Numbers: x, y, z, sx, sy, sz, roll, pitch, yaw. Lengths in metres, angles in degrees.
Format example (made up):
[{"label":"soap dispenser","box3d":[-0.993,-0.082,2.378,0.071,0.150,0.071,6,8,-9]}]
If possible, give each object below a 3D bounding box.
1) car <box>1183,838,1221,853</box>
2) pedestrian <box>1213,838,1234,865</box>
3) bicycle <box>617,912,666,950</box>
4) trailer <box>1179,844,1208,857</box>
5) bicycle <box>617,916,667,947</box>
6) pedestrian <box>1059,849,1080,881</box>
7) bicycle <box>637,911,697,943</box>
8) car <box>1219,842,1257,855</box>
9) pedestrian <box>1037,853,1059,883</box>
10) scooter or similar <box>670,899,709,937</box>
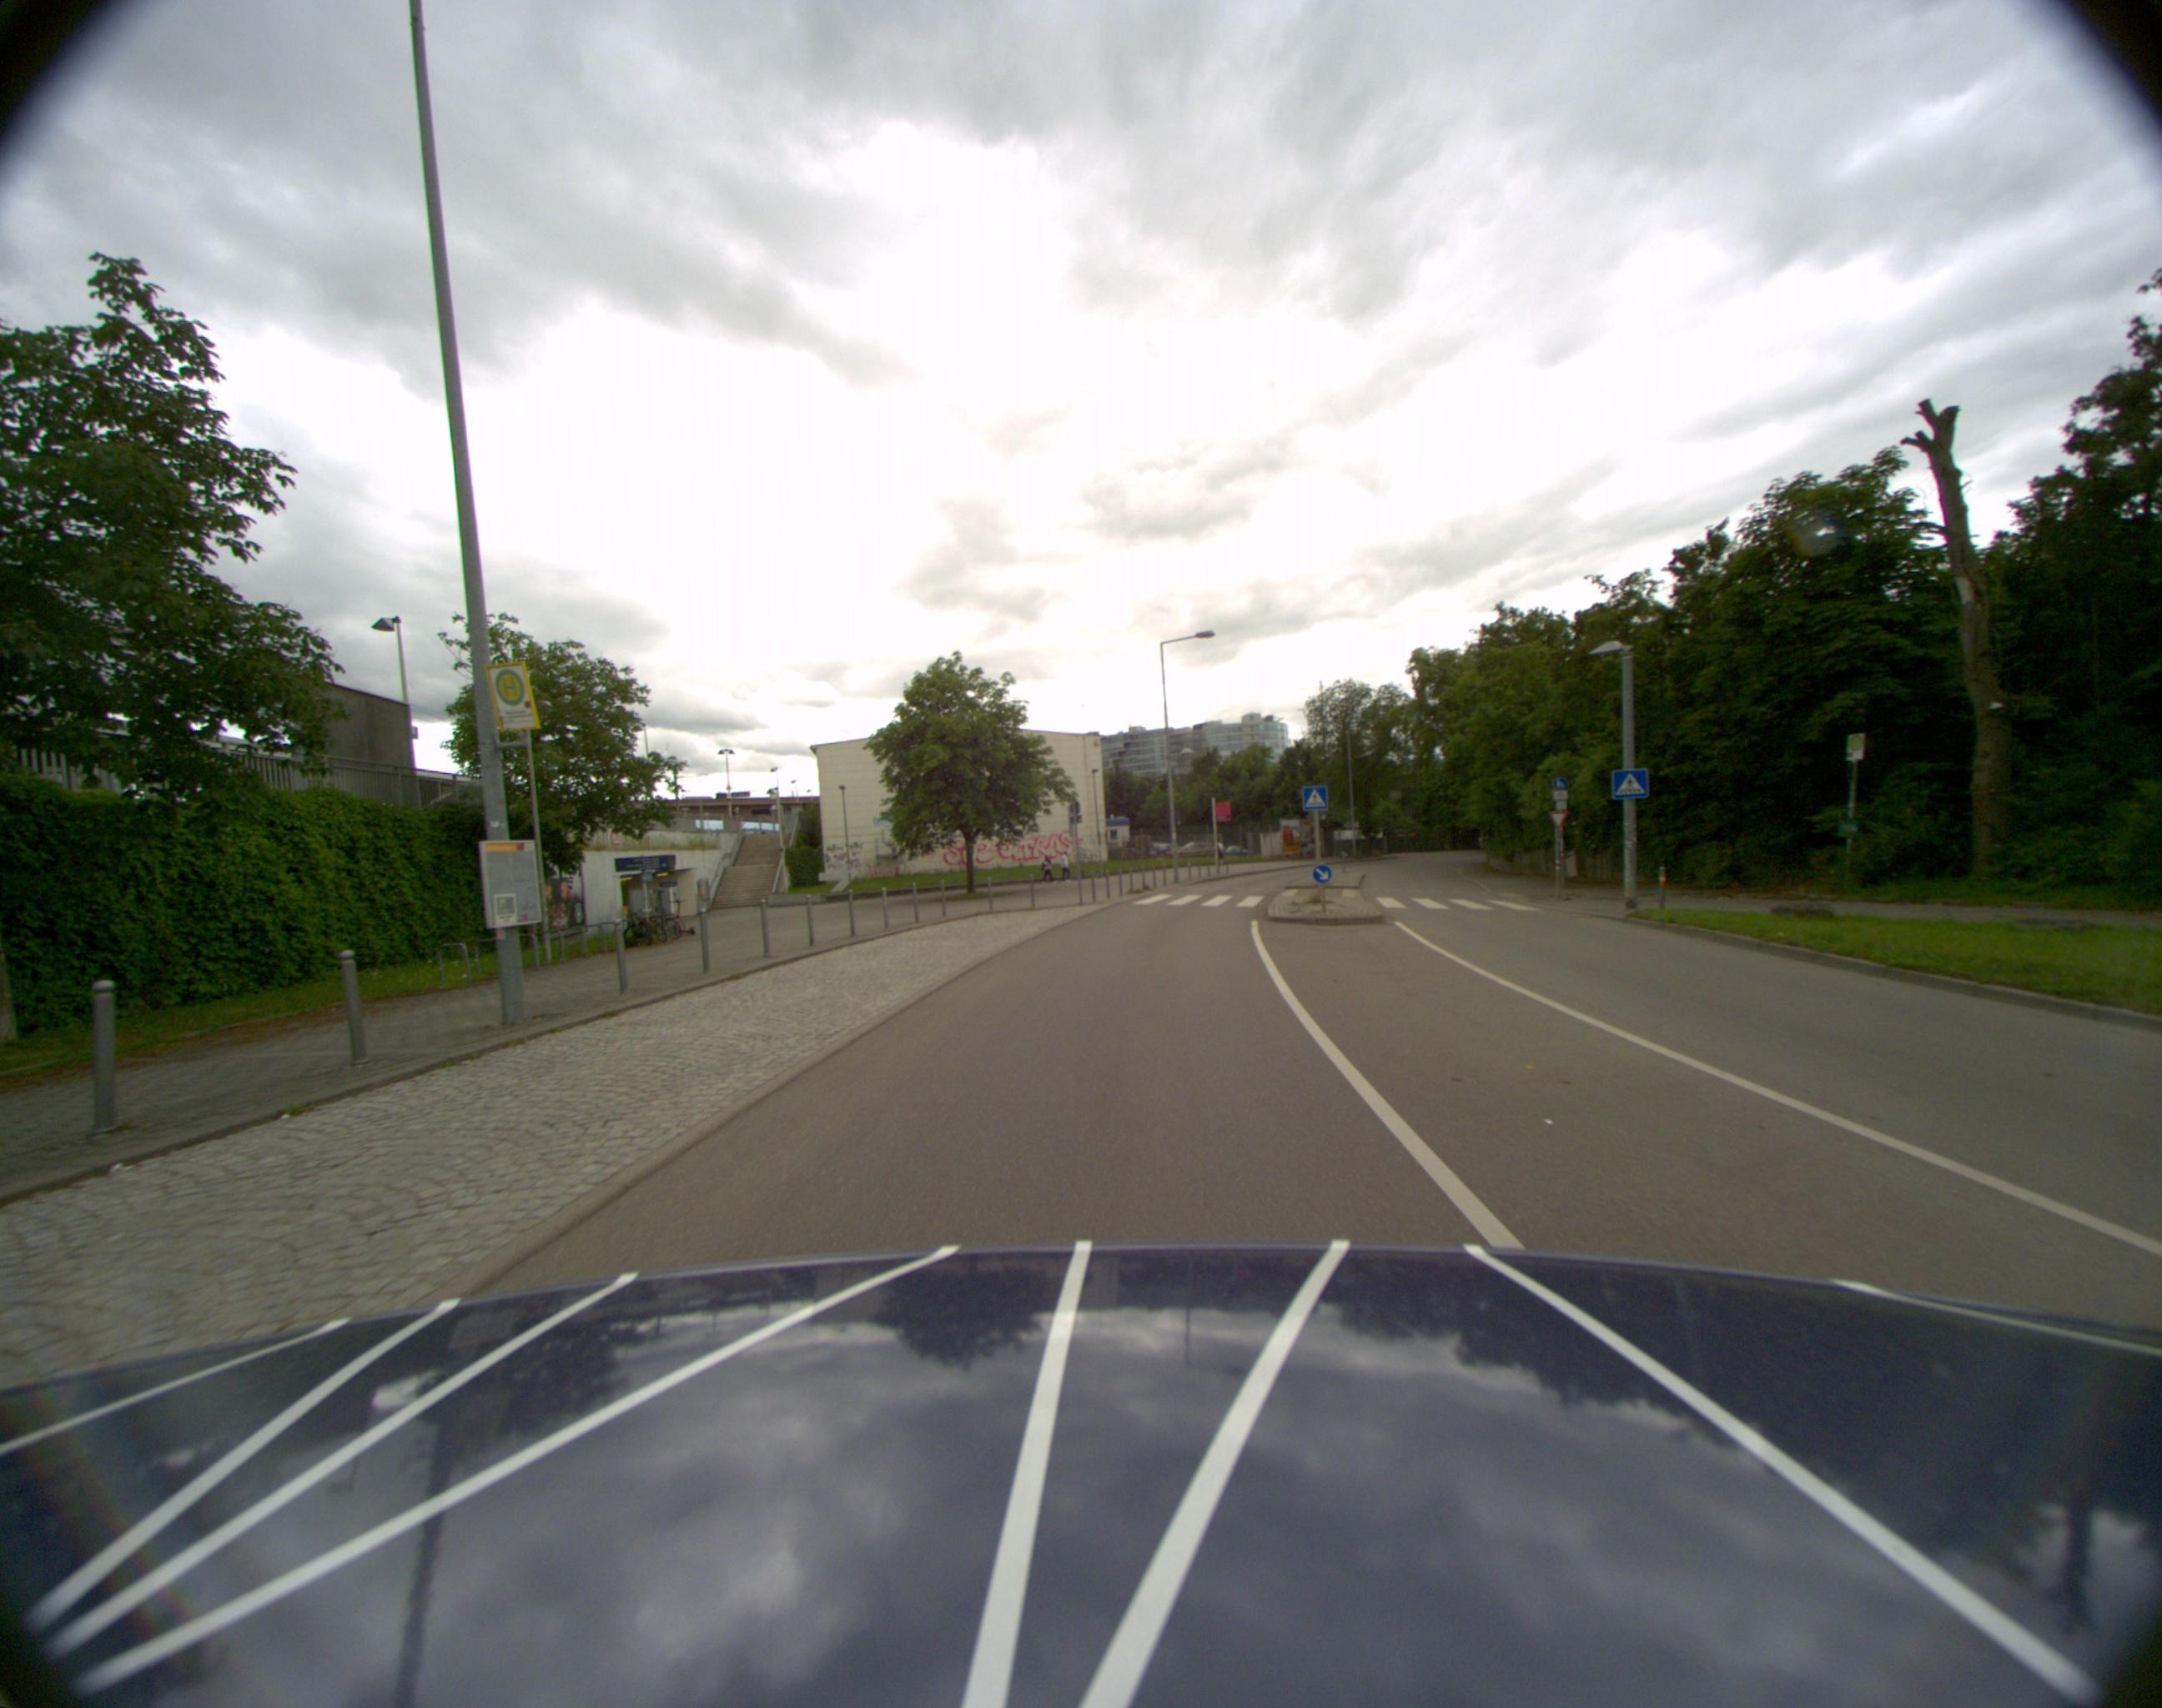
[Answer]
[{"label":"car","box3d":[13.140,-0.935,82.722,3.814,1.523,1.562,-1,2,-18]},{"label":"pedestrian","box3d":[9.194,-0.146,49.154,0.941,1.675,0.848,-5,4,-31]},{"label":"bicycle","box3d":[-12.772,2.236,22.069,1.488,0.984,0.695,-5,0,41]},{"label":"trailer","box3d":[10.904,-0.340,73.789,1.850,1.131,2.636,-3,1,-13]},{"label":"bicycle","box3d":[-13.333,2.352,23.060,1.577,0.849,0.464,-5,0,26]},{"label":"pedestrian","box3d":[-0.604,0.586,40.923,0.750,1.693,0.815,-5,3,-28]},{"label":"bicycle","box3d":[-13.202,2.336,24.231,1.968,0.860,0.512,-6,-1,23]},{"label":"car","box3d":[15.554,-0.512,75.157,3.373,1.245,1.469,0,2,-18]},{"label":"pedestrian","box3d":[-1.808,0.742,41.692,0.803,1.575,0.800,-5,3,-28]},{"label":"scooter or similar","box3d":[-13.369,2.187,25.949,1.188,1.199,0.469,-5,0,26]}]
